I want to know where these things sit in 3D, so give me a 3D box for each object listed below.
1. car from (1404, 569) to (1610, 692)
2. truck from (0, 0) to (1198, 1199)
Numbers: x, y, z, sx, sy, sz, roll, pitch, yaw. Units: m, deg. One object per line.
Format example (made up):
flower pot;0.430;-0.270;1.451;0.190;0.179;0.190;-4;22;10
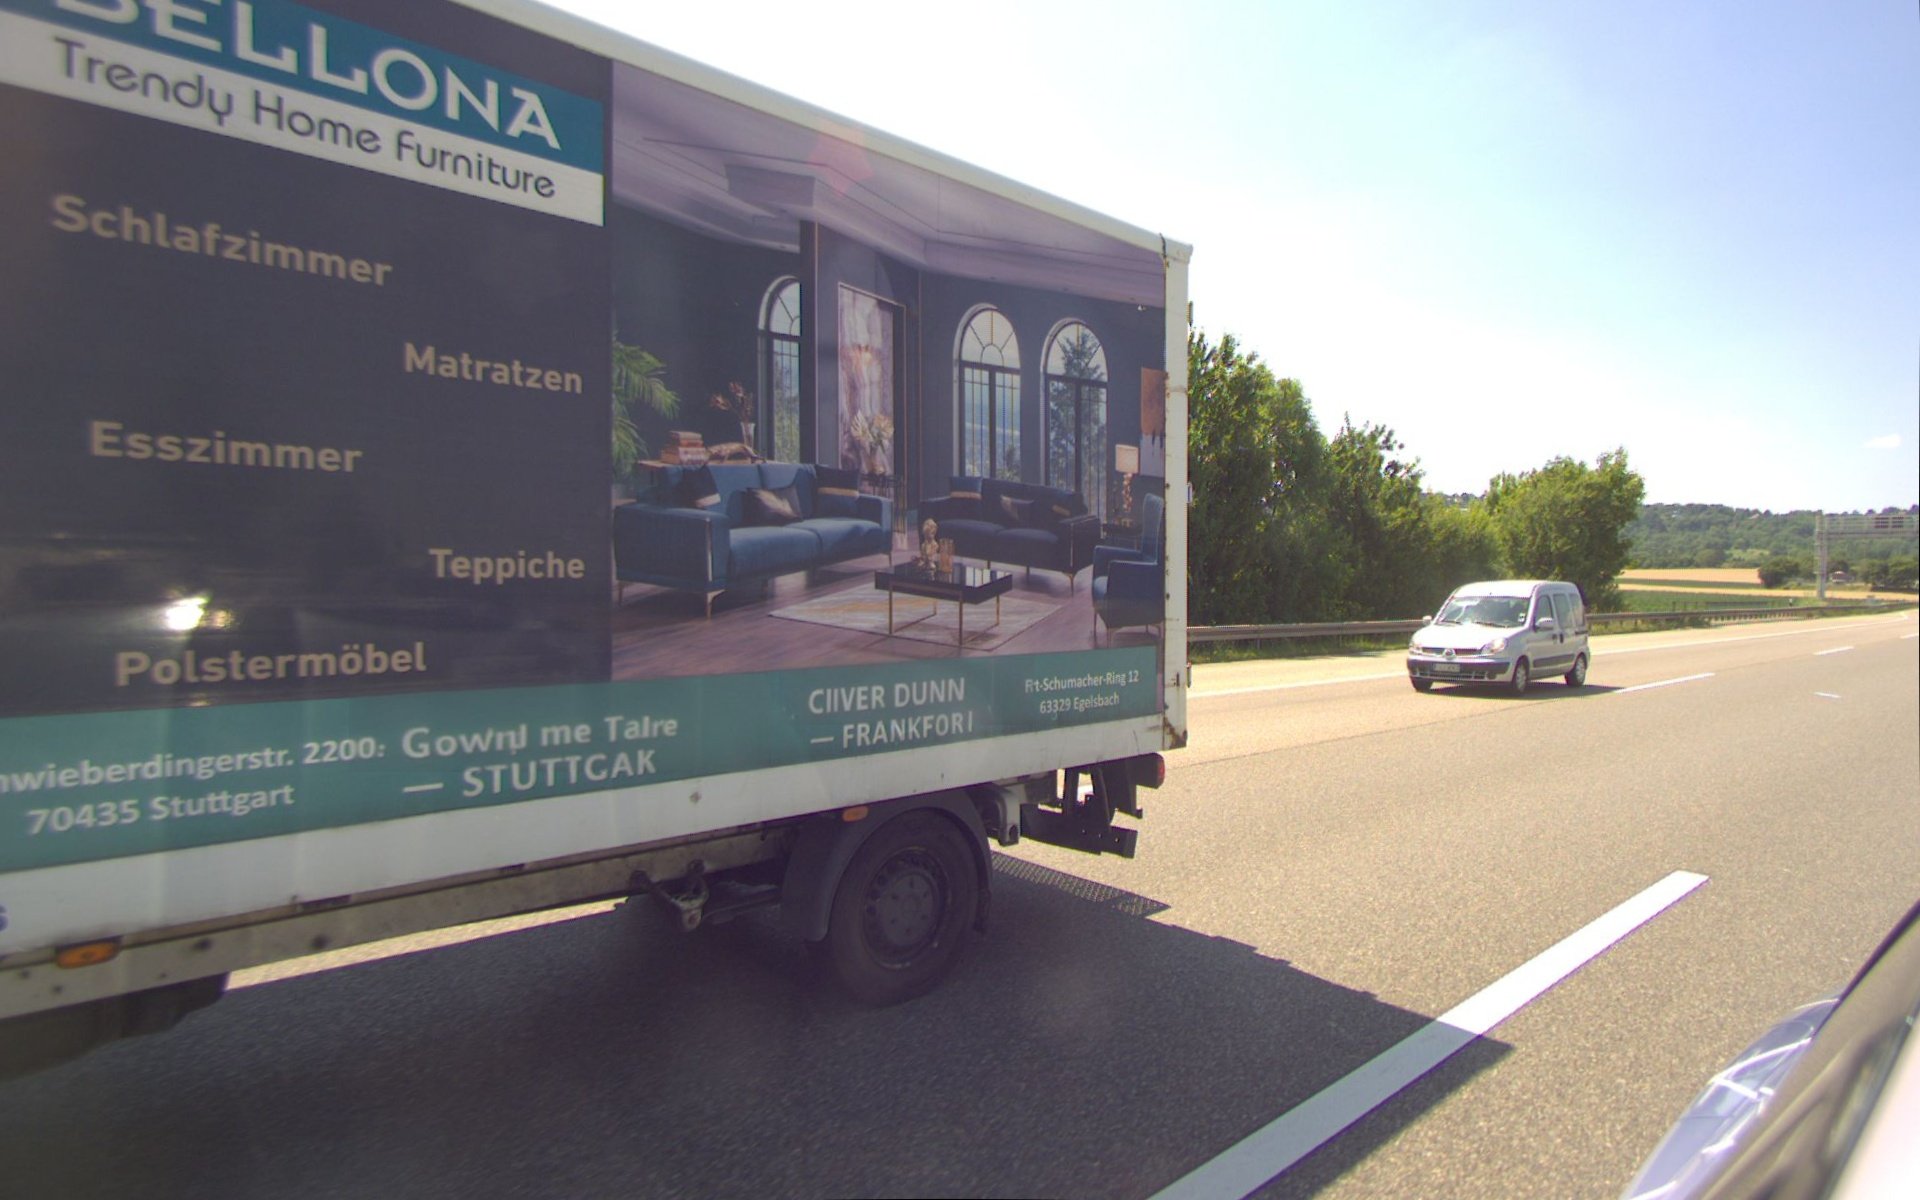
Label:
car;8.905;0.430;16.356;3.902;1.759;1.630;0;0;-40
truck;-2.201;-0.158;3.136;6.633;3.106;2.324;0;0;-41
